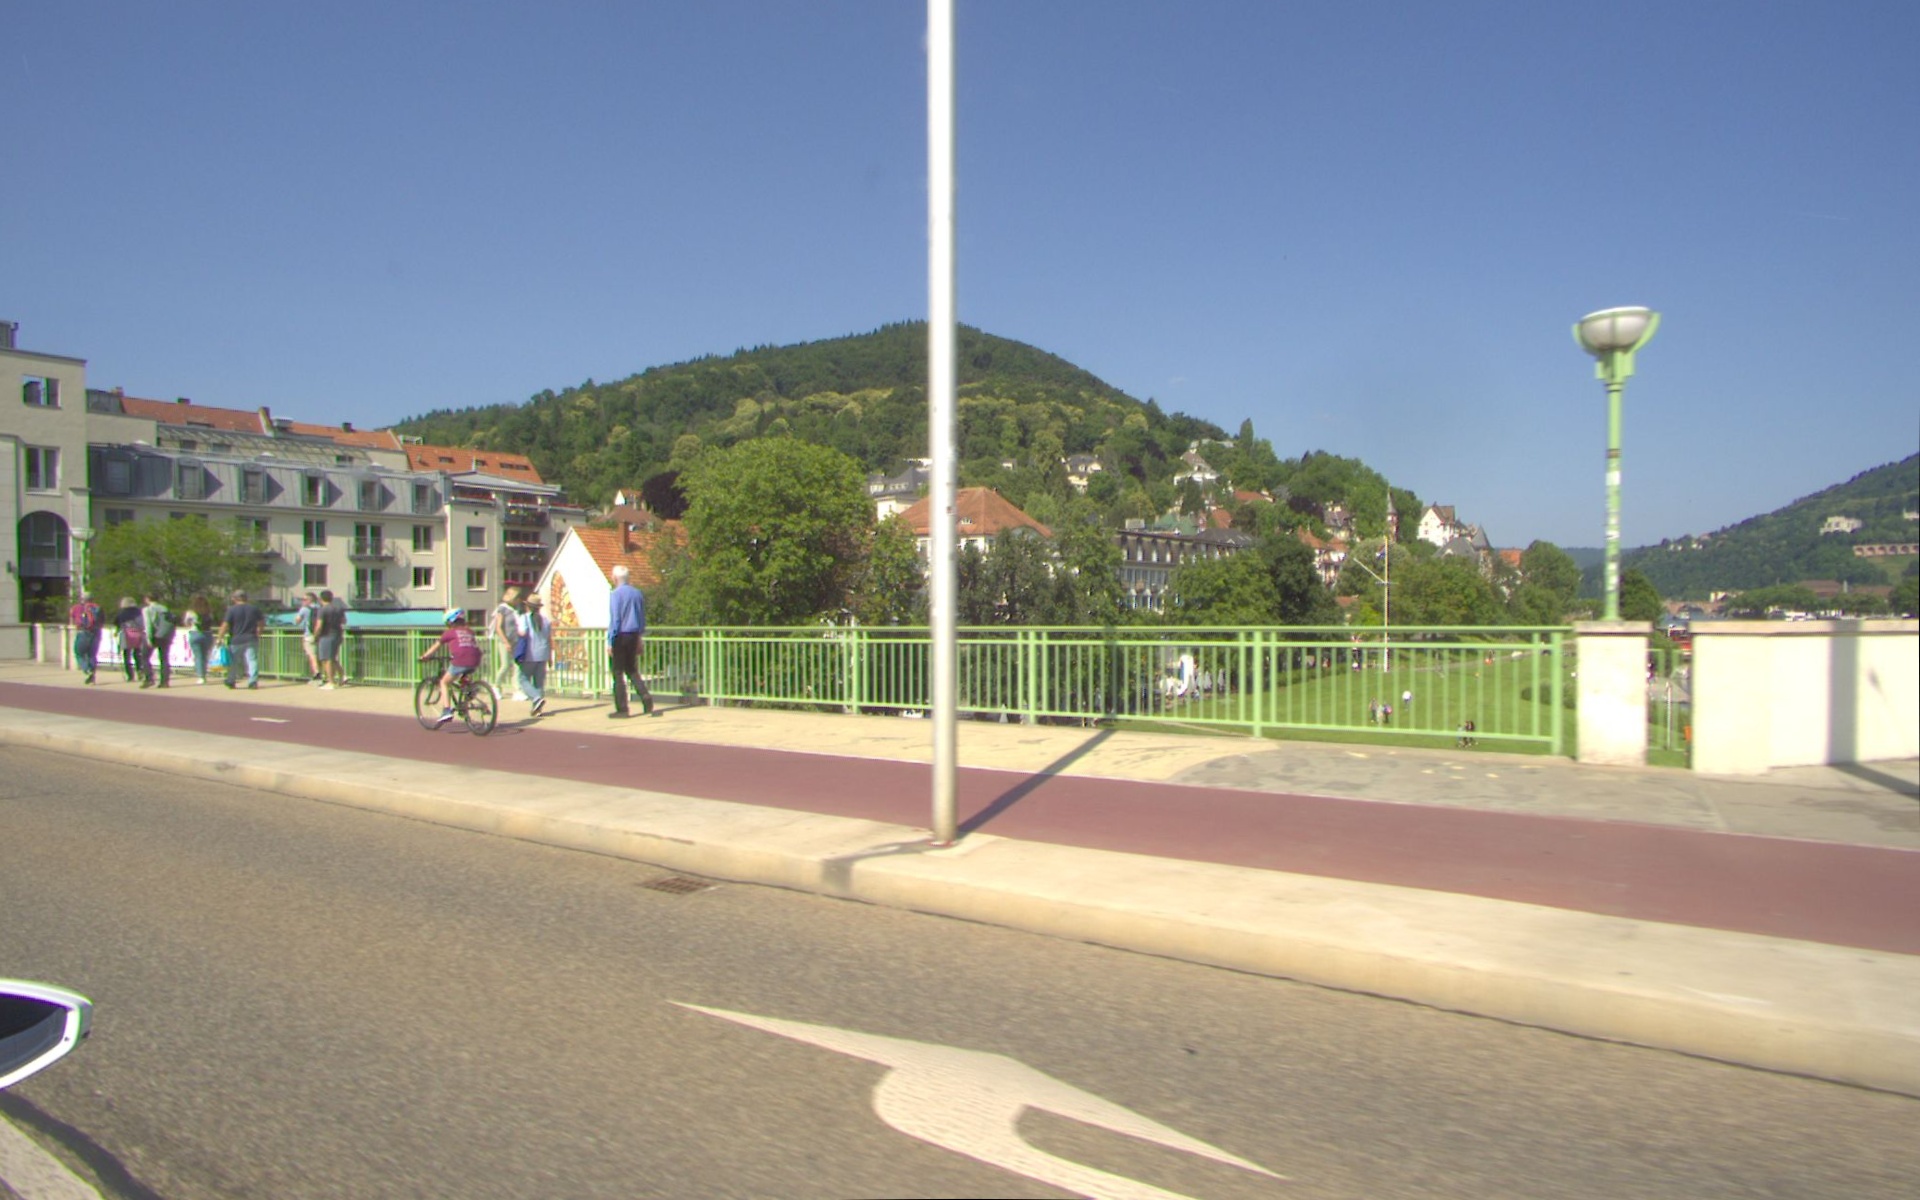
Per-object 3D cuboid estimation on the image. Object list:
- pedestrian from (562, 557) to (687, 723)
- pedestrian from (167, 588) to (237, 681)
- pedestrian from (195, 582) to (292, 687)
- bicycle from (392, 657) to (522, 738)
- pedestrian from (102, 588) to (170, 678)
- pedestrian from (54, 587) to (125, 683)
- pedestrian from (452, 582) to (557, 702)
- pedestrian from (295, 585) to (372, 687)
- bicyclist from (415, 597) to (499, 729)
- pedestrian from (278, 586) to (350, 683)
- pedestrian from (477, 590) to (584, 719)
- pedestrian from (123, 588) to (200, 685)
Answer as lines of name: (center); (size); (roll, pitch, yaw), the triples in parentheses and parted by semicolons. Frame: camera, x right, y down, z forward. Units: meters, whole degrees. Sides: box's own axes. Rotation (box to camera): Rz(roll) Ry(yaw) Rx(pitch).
pedestrian: (-4.107, 0.462, 12.271); (1.121, 1.923, 0.924); (0, 1, 32)
pedestrian: (-15.012, 0.667, 19.830); (1.001, 1.770, 0.737); (0, 2, 32)
pedestrian: (-12.841, 0.592, 17.951); (1.190, 1.802, 0.975); (0, 2, 32)
bicycle: (-5.622, 1.063, 11.163); (1.637, 0.776, 0.512); (-1, 2, 33)
pedestrian: (-16.902, 0.658, 20.541); (1.001, 1.802, 0.737); (0, 2, 32)
pedestrian: (-17.203, 0.675, 19.790); (1.001, 1.827, 0.737); (0, 2, 32)
pedestrian: (-6.755, 0.594, 14.857); (1.067, 1.685, 0.945); (0, 2, 32)
pedestrian: (-11.078, 0.619, 17.708); (1.001, 1.742, 0.737); (0, 2, 32)
bicyclist: (-5.582, 0.681, 11.114); (0.659, 1.402, 0.532); (0, 2, 32)
pedestrian: (-11.887, 0.620, 18.428); (1.001, 1.741, 0.737); (0, 1, 32)
pedestrian: (-5.408, 0.660, 12.637); (0.919, 1.550, 0.827); (0, 2, 32)
pedestrian: (-14.766, 0.655, 18.529); (1.058, 1.741, 0.753); (0, 2, 32)
